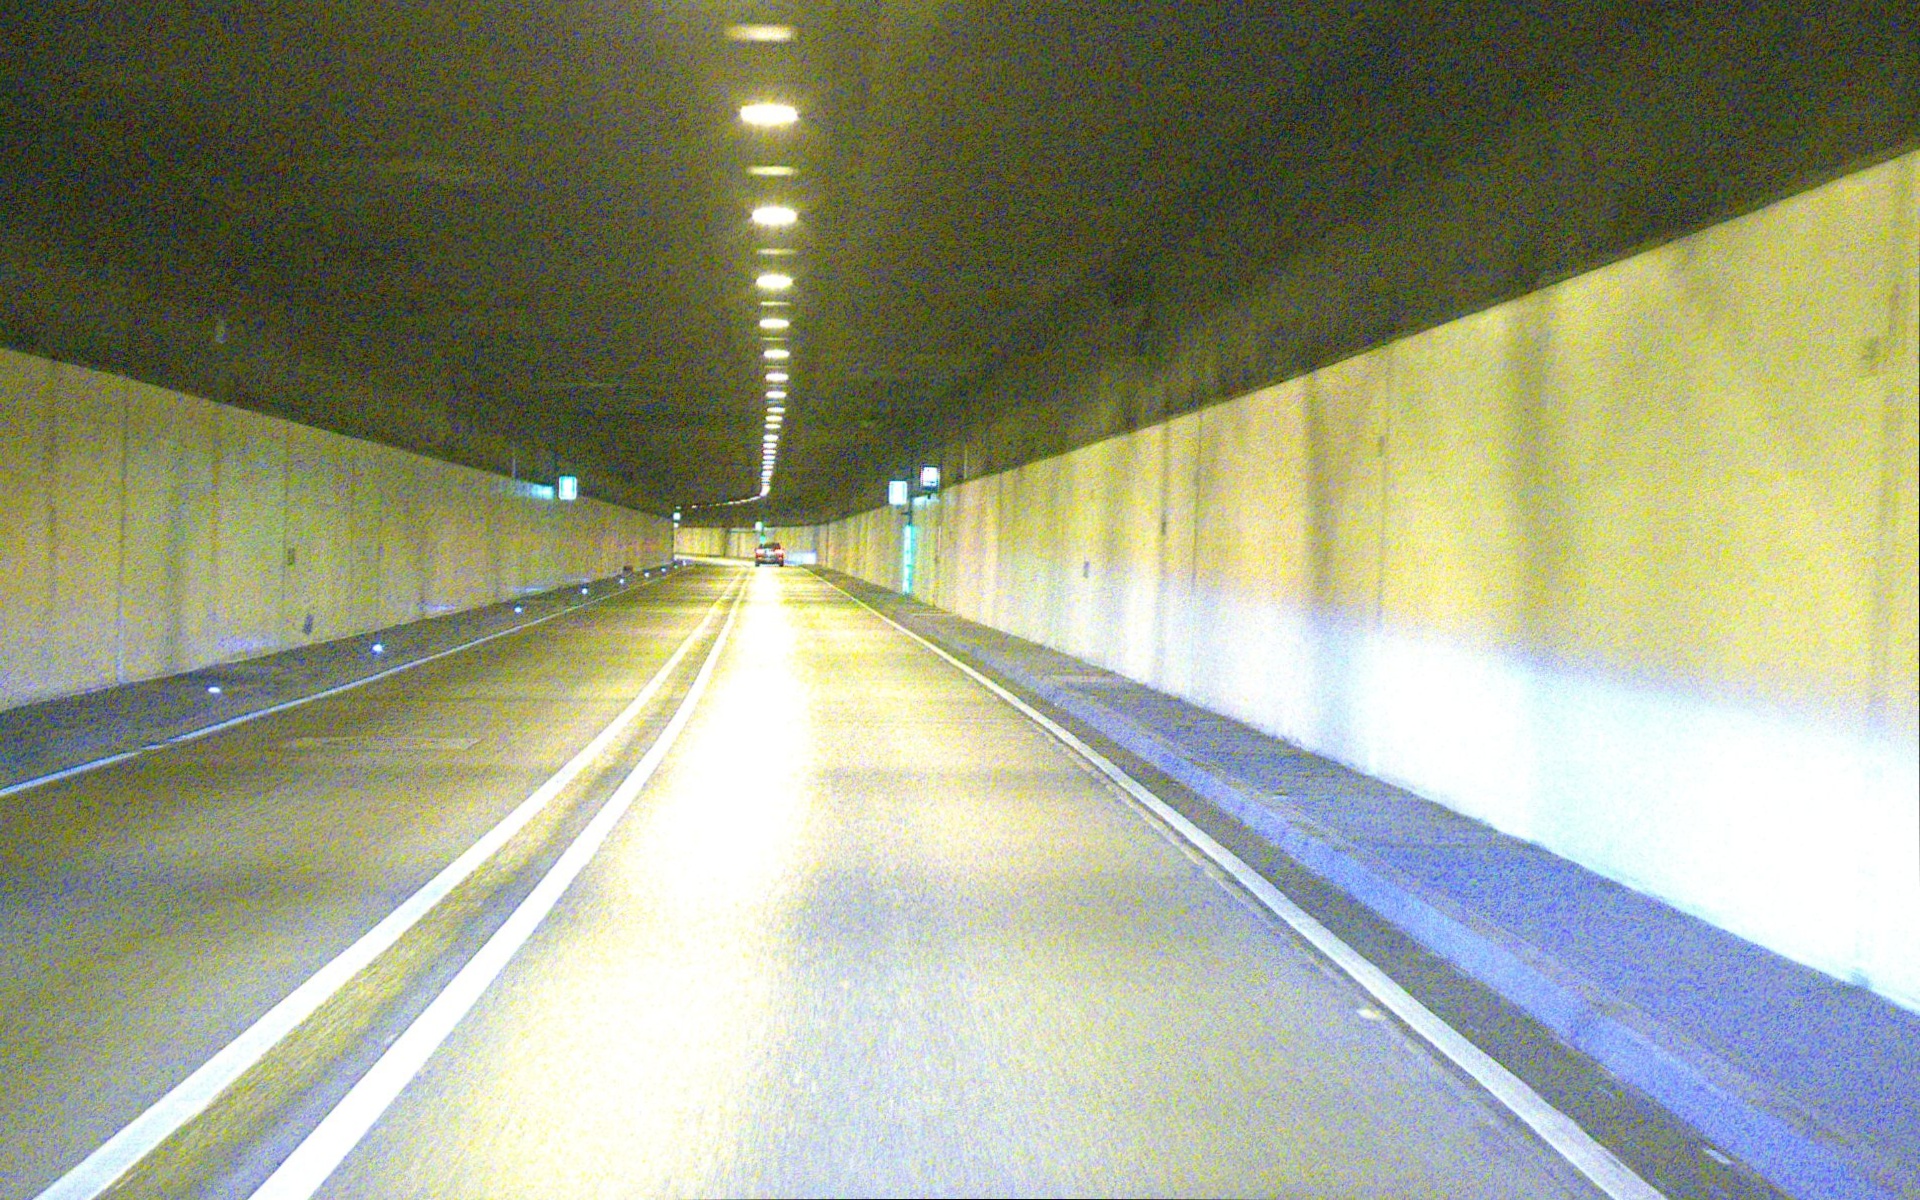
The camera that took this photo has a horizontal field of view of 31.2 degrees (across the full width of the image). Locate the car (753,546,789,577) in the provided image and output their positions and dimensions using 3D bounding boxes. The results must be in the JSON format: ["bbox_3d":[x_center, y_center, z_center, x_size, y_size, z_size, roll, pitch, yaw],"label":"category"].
[{"bbox_3d":[-12.450,-2.520,225.952,1.966,1.932,4.613,2,0,-8],"label":"car"}]
